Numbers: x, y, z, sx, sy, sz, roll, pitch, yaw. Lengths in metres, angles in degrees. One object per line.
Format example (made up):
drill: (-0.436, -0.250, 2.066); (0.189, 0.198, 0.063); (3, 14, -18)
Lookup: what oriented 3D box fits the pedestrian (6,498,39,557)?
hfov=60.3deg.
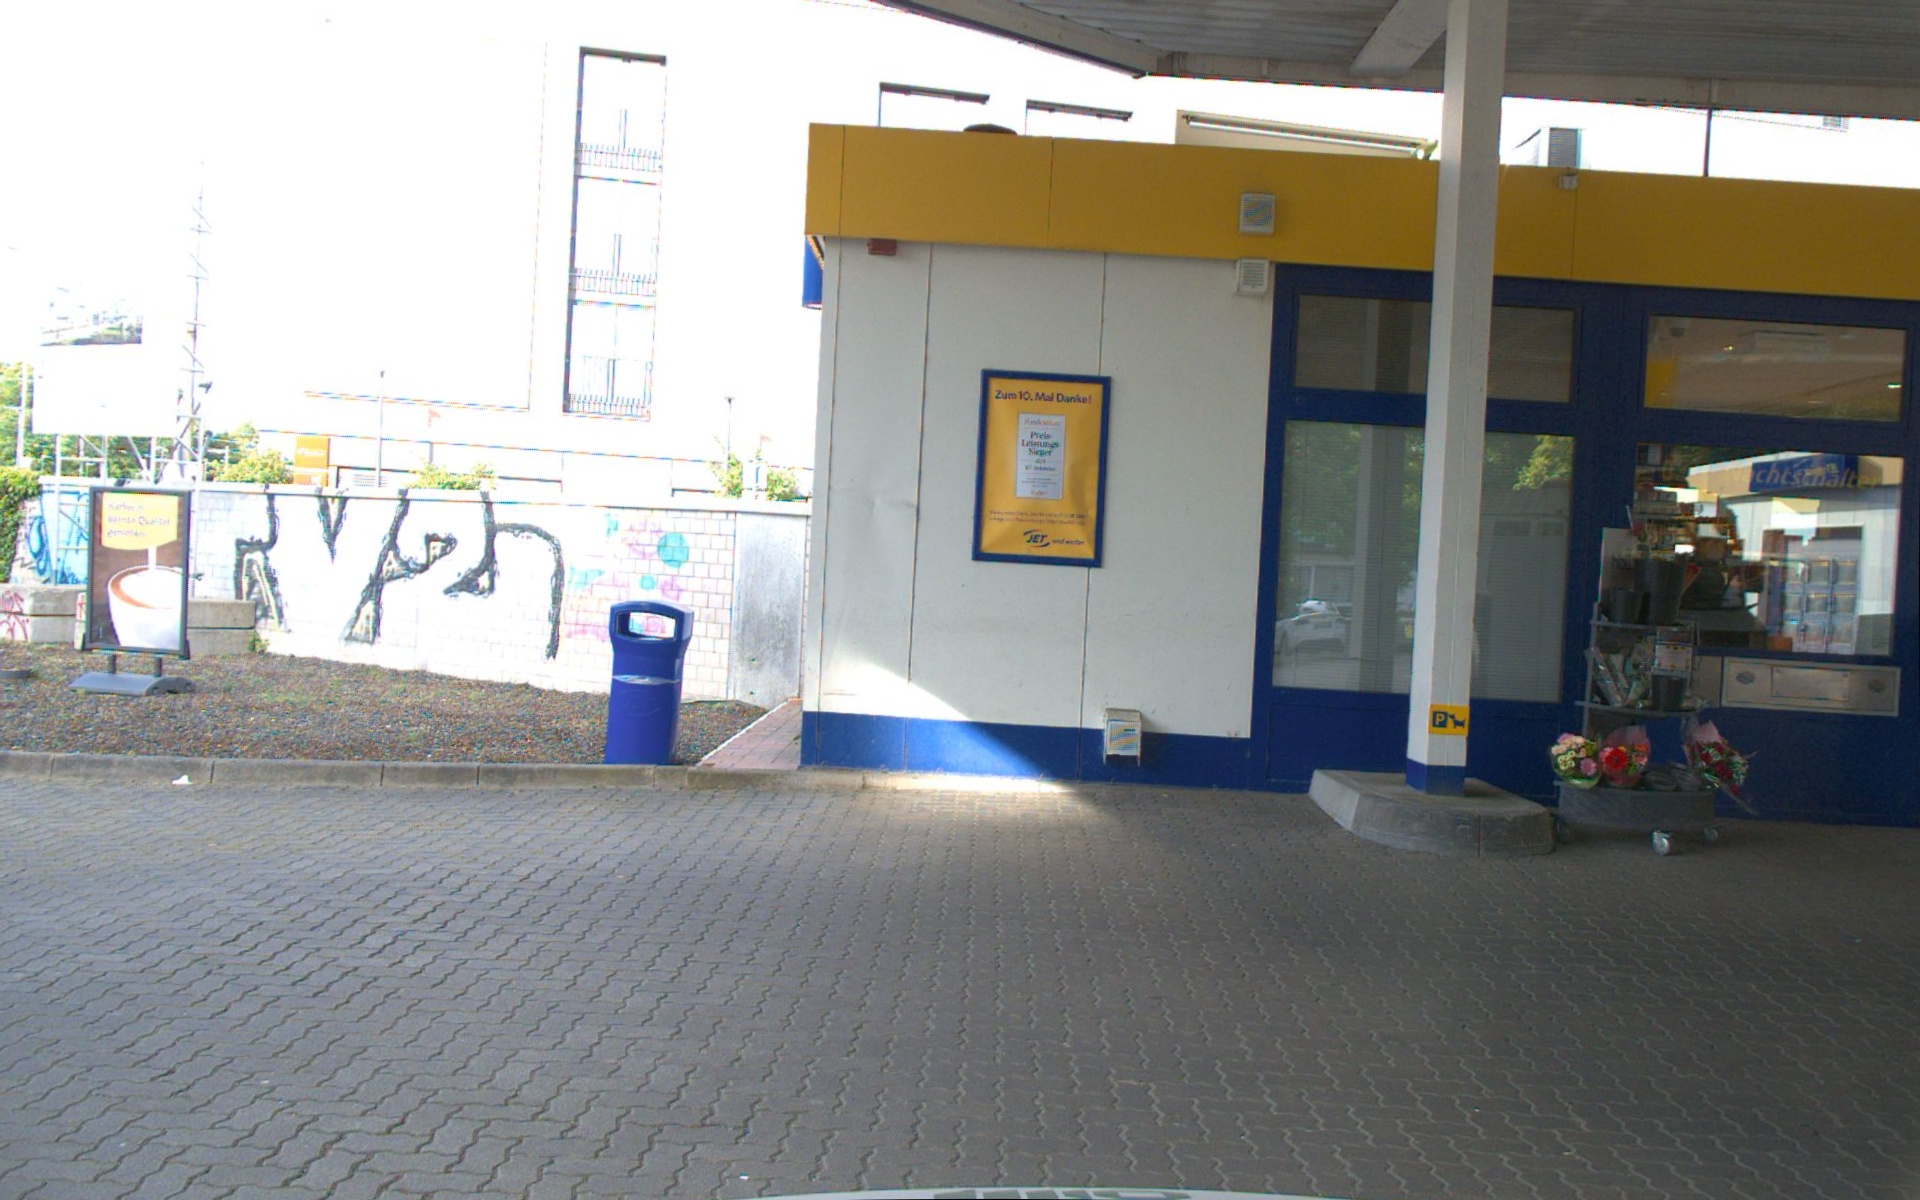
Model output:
pedestrian: (-33.694, -2.590, 59.449); (0.793, 2.049, 0.847); (1, -1, -17)
